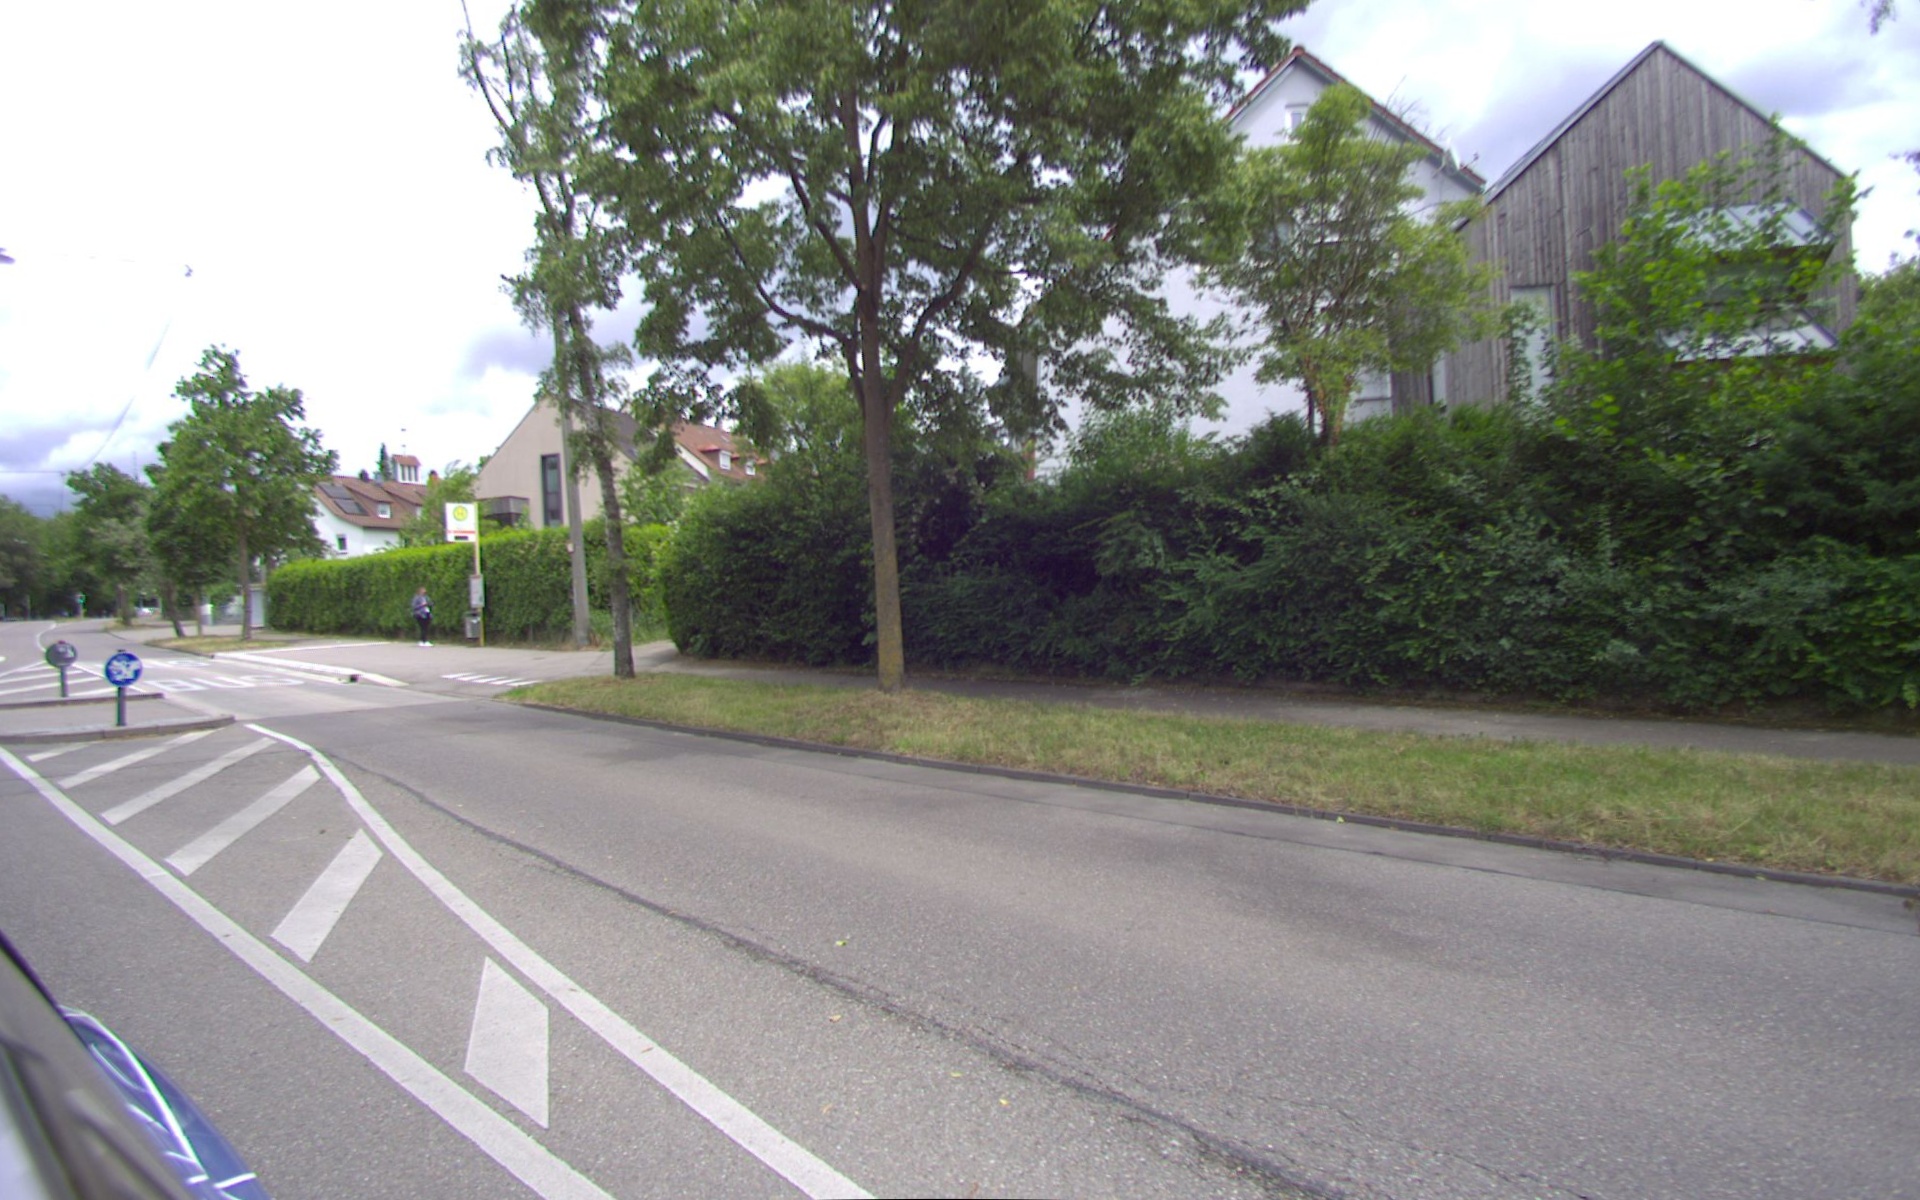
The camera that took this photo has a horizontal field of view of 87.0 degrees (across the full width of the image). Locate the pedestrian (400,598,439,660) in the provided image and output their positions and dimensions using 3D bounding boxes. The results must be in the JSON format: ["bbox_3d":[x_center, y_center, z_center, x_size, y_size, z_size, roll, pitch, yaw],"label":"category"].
[{"bbox_3d":[-15.559,0.820,29.131,0.777,1.723,0.685,-2,1,39],"label":"pedestrian"}]
